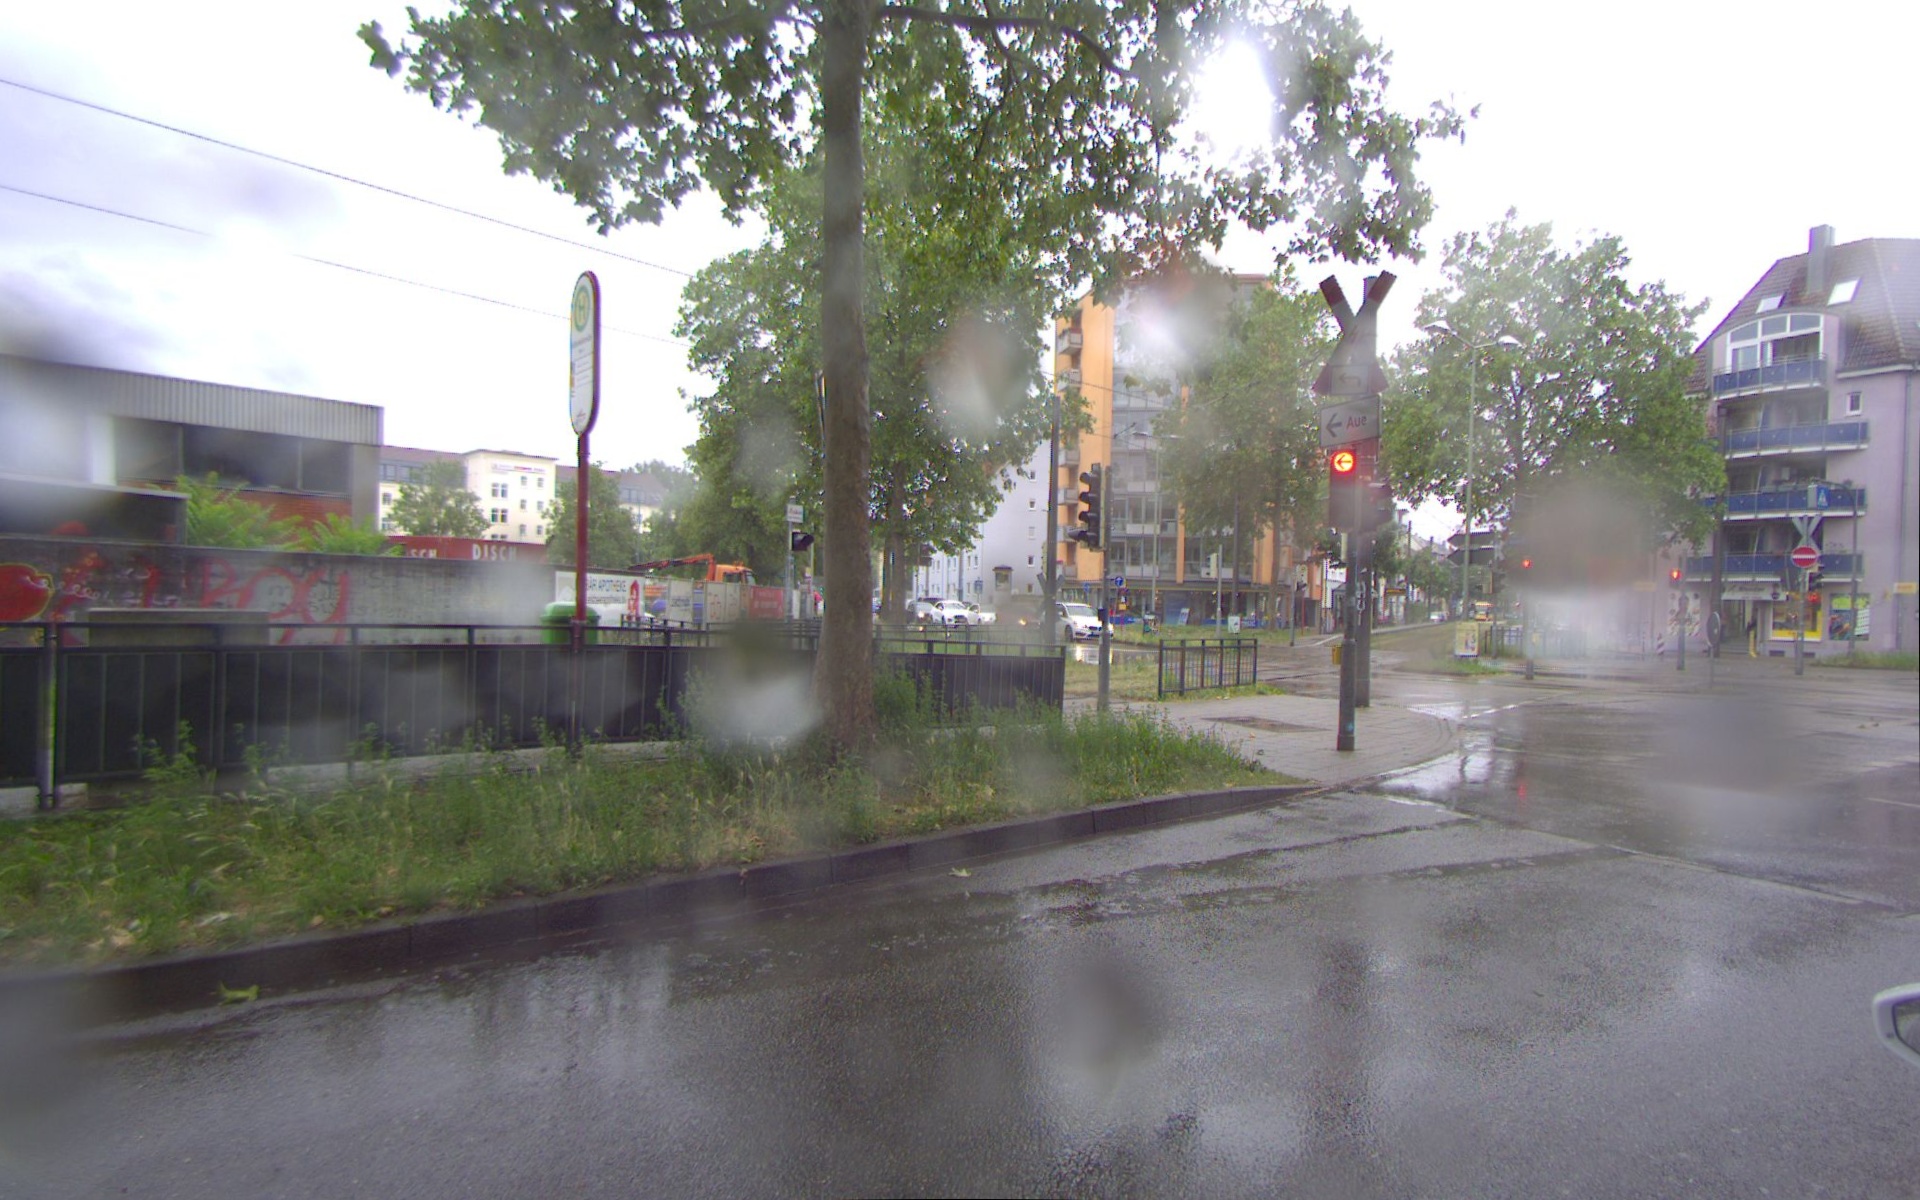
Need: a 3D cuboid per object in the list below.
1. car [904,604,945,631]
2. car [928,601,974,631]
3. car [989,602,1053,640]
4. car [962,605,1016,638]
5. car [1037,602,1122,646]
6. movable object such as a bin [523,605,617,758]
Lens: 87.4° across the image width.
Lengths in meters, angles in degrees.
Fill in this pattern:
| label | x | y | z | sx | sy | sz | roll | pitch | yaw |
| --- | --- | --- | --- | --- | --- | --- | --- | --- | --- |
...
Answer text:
| label | x | y | z | sx | sy | sz | roll | pitch | yaw |
| --- | --- | --- | --- | --- | --- | --- | --- | --- | --- |
| car | -2.286 | 1.149 | 64.523 | 1.697 | 1.661 | 3.780 | 1 | -1 | -17 |
| car | -0.568 | 0.959 | 58.414 | 1.697 | 1.661 | 3.780 | 1 | -1 | -17 |
| car | 2.771 | 0.978 | 46.403 | 1.697 | 1.661 | 3.780 | 1 | -1 | -17 |
| car | 1.460 | 1.127 | 52.454 | 1.697 | 1.661 | 3.780 | 1 | -1 | -17 |
| car | 4.718 | 0.965 | 40.339 | 1.941 | 1.673 | 4.004 | 1 | -1 | -17 |
| movable object such as a bin | -2.941 | 0.595 | 7.585 | 0.412 | 1.104 | 0.528 | 0 | -1 | 44 |
